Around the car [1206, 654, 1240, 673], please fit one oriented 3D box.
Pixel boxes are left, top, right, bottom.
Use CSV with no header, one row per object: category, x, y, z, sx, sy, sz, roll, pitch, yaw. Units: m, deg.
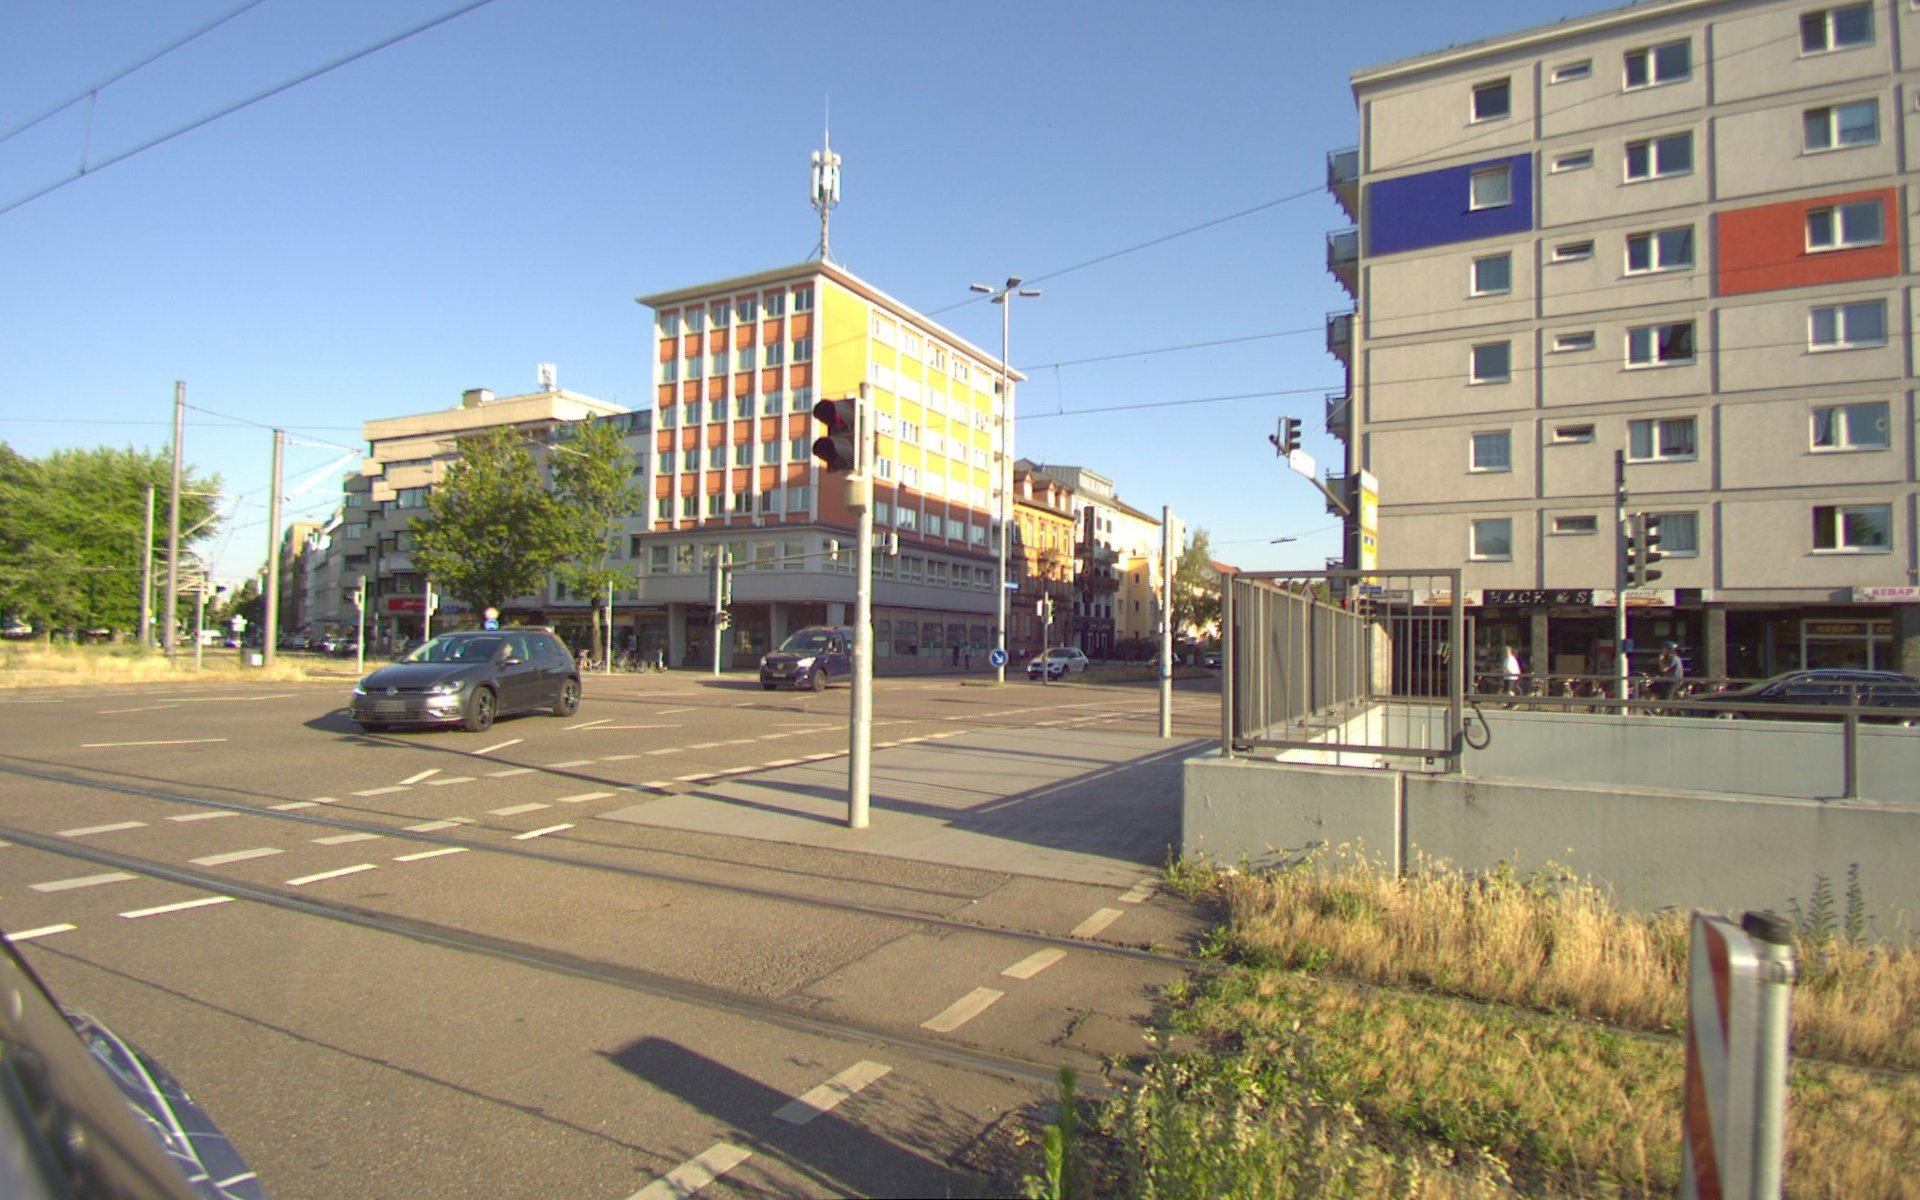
car,22.151,5.327,85.206,1.900,1.552,3.961,-1,-3,28

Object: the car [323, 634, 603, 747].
car,-7.374,1.270,15.574,1.752,1.470,4.257,-1,-2,9

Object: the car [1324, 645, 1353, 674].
car,38.137,6.013,101.795,2.128,2.777,4.423,0,-3,28

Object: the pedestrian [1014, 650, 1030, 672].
pedestrian,4.752,4.681,77.334,0.784,1.600,1.001,4,-1,29

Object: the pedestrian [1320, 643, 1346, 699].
pedestrian,12.849,2.445,34.869,0.608,1.890,0.804,-4,-5,30

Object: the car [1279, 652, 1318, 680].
car,22.357,4.354,66.806,1.812,1.724,4.742,1,-3,26

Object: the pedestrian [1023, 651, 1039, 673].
pedestrian,5.405,4.672,76.935,0.736,1.600,1.001,4,-1,30

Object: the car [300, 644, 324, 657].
car,-68.140,5.305,106.419,1.712,1.394,3.630,3,-4,-39

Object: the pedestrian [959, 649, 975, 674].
pedestrian,0.499,4.197,69.154,0.666,1.739,1.000,-1,-3,30

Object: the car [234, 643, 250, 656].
car,-107.779,7.431,151.943,1.623,1.828,3.495,3,-4,-39

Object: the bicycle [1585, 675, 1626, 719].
bicycle,16.895,2.516,26.525,0.734,1.059,2.277,-1,-3,29

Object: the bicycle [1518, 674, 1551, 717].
bicycle,15.458,2.540,27.274,0.734,1.059,2.277,-1,-3,29

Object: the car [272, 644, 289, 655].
car,-103.404,7.568,153.924,1.778,1.607,3.684,3,-4,-39

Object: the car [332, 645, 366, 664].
car,-52.609,4.652,87.148,1.933,1.568,3.880,3,-4,-39

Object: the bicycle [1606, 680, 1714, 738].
bicycle,14.765,2.281,21.414,1.775,1.105,0.942,0,-4,30

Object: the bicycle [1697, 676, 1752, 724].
bicycle,19.051,2.472,25.265,0.734,1.059,2.277,-1,-3,29

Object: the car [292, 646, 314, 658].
car,-76.238,6.005,117.343,1.712,1.394,3.630,3,-4,-39

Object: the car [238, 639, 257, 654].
car,-88.922,5.812,126.205,1.623,1.828,3.495,3,-4,-39

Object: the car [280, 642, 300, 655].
car,-89.049,6.427,134.537,1.743,1.715,3.586,3,-4,-39

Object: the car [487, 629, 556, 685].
car,-15.001,1.884,34.485,1.965,1.737,5.047,1,-2,-25

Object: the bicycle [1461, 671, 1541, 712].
bicycle,15.573,2.631,29.157,2.036,1.100,0.520,2,-3,-2

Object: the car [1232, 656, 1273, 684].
car,17.671,4.222,61.044,1.576,1.556,3.442,1,-3,29

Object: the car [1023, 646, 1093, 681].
car,4.680,2.981,47.701,1.900,1.552,3.961,-1,-3,28

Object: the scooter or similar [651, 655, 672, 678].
scooter or similar,-17.048,3.784,57.776,0.477,1.245,1.564,4,-3,-41

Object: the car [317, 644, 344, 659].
car,-59.565,4.883,95.798,1.712,1.394,3.397,3,-4,-39

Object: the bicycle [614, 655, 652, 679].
bicycle,-17.391,3.560,53.773,2.051,1.123,0.588,1,-3,27

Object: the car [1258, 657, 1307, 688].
car,17.361,3.895,54.374,1.793,1.577,4.106,0,-4,29

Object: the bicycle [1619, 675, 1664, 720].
bicycle,17.599,2.498,26.161,0.734,1.059,2.277,-1,-3,29

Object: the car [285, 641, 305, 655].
car,-84.967,6.092,129.335,1.743,1.715,3.586,3,-4,-39

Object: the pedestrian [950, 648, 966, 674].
pedestrian,-0.154,4.197,69.467,0.666,1.739,1.000,-1,-4,31

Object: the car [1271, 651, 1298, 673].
car,23.889,4.553,74.352,1.669,1.556,3.779,1,-3,21

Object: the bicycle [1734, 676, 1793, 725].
bicycle,19.710,2.440,24.860,0.734,1.059,2.277,-1,-3,29

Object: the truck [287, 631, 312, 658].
truck,-80.764,5.458,123.698,1.712,3.245,6.418,3,-4,-39

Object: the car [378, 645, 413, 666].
car,-42.727,4.180,76.556,1.615,1.558,3.642,3,-4,-39

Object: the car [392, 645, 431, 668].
car,-36.559,3.743,67.397,1.615,1.439,3.642,3,-4,-39

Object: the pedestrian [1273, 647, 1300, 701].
pedestrian,10.992,2.490,34.094,0.608,1.800,0.803,-4,-5,33

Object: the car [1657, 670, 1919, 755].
car,15.527,2.022,18.663,4.181,1.323,1.784,-1,-3,28

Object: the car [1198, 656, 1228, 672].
car,25.012,6.288,100.091,1.899,1.529,4.033,-1,-4,30

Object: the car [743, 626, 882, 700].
car,-4.044,1.742,28.494,1.883,1.868,4.434,1,-3,21

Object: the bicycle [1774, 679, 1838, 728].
bicycle,20.407,2.479,24.460,0.734,1.059,2.277,-1,-3,29

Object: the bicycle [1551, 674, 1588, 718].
bicycle,16.171,2.528,26.896,0.734,1.059,2.277,-1,-3,29

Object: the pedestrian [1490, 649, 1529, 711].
pedestrian,15.581,2.263,28.711,0.601,1.736,0.685,-1,-4,-3

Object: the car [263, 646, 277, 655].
car,-109.476,7.936,160.615,1.472,1.384,3.430,3,-4,-39

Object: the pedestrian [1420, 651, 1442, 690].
pedestrian,20.423,3.059,43.905,0.616,1.685,0.660,1,-3,-6

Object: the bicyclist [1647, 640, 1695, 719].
bicyclist,14.980,1.663,21.338,0.735,1.610,0.953,0,-4,30

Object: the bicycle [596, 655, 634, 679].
bicycle,-17.963,3.479,52.660,1.998,1.123,0.588,1,-3,28

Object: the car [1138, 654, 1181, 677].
car,13.963,4.538,70.797,1.900,1.552,3.961,-1,-3,28
